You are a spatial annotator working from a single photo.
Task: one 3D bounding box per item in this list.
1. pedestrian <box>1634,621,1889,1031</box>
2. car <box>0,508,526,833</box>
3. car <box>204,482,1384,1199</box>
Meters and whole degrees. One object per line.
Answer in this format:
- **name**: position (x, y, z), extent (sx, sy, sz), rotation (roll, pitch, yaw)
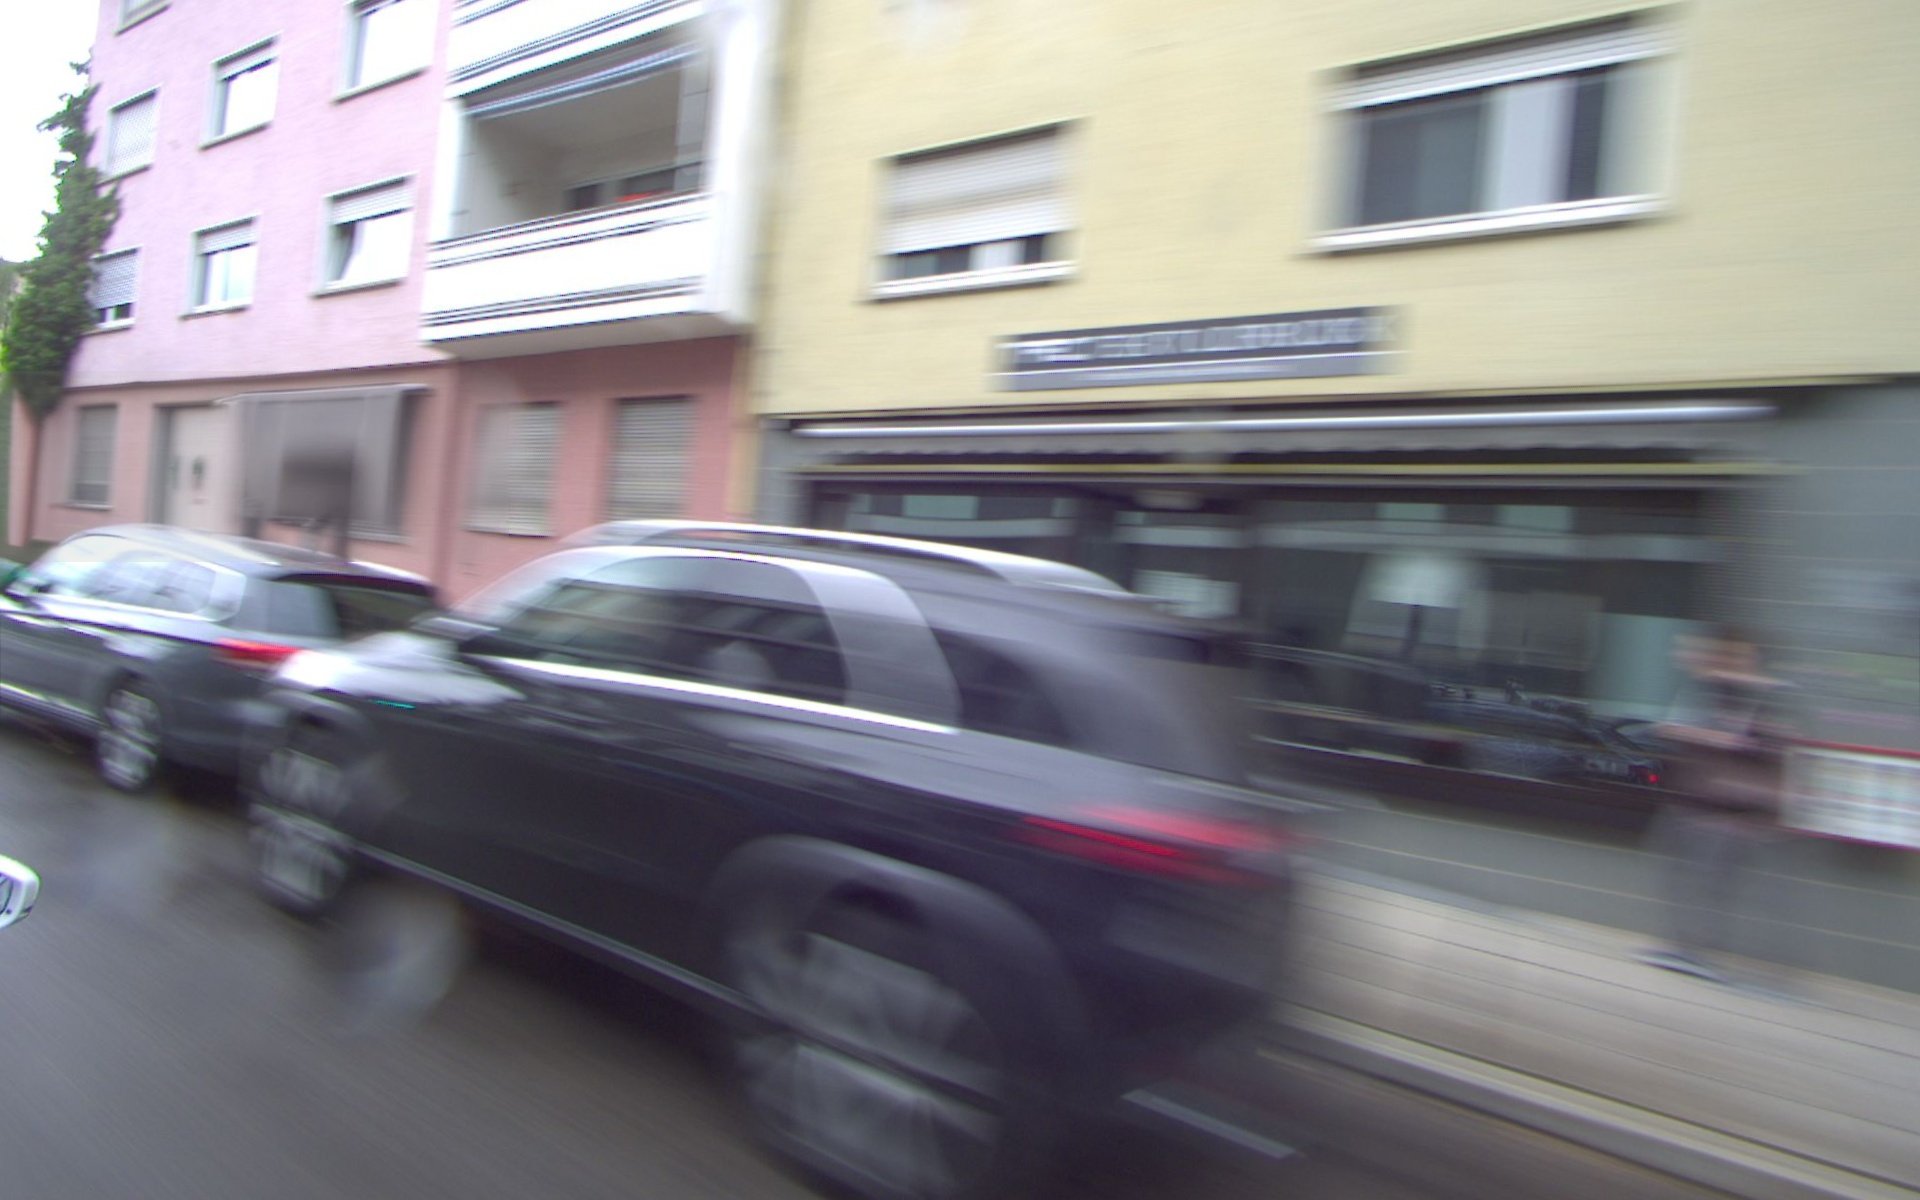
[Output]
- **pedestrian**: position (3.954, 1.048, 5.047), extent (0.735, 1.797, 0.714), rotation (7, 2, 31)
- **car**: position (-5.353, 0.306, 7.064), extent (4.435, 1.537, 1.796), rotation (6, -1, 29)
- **car**: position (-0.863, 0.661, 4.144), extent (4.437, 1.795, 1.966), rotation (6, -1, 31)
